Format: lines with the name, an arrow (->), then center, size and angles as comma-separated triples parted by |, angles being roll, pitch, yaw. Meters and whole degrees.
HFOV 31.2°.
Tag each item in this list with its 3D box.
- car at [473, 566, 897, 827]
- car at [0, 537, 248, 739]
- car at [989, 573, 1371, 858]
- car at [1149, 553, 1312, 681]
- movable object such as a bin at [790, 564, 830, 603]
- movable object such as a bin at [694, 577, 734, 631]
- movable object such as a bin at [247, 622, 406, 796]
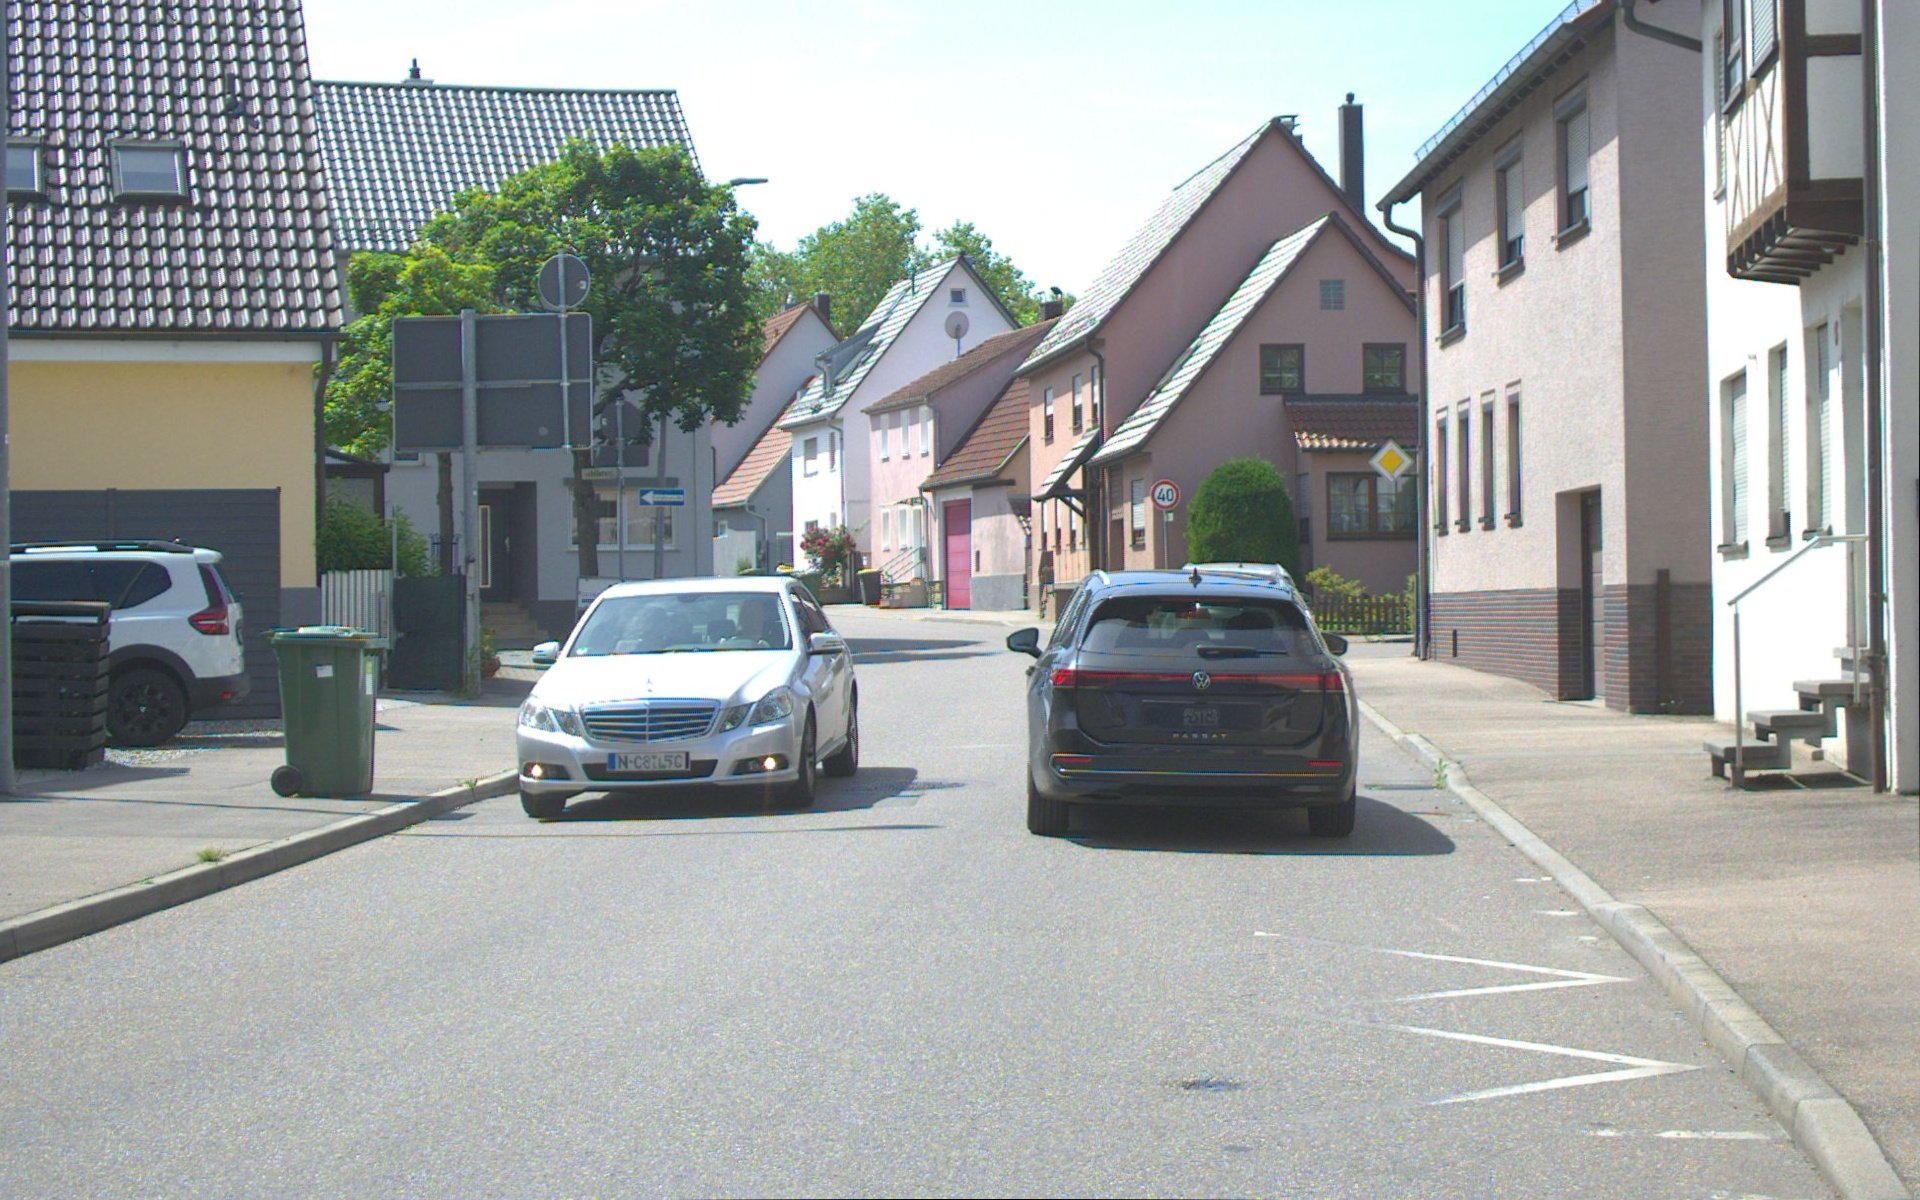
car -> -1.702, 0.563, 22.909 | 1.955, 1.481, 4.458 | -2, 1, 6
car -> -8.218, 0.310, 28.536 | 4.400, 1.617, 2.000 | 0, 0, -8
car -> 1.398, 0.568, 19.947 | 1.842, 1.415, 4.681 | 0, 1, 8
car -> 3.191, 0.165, 41.201 | 1.786, 1.437, 4.337 | 0, 1, 3
movable object such as a bin -> -4.411, -0.479, 101.234 | 0.875, 1.071, 0.873 | -5, 2, -19
movable object such as a bin -> -4.900, 0.079, 68.414 | 0.753, 1.056, 0.680 | 0, 1, -9
movable object such as a bin -> -4.066, 0.688, 22.119 | 0.826, 1.073, 0.818 | 0, 1, 5
